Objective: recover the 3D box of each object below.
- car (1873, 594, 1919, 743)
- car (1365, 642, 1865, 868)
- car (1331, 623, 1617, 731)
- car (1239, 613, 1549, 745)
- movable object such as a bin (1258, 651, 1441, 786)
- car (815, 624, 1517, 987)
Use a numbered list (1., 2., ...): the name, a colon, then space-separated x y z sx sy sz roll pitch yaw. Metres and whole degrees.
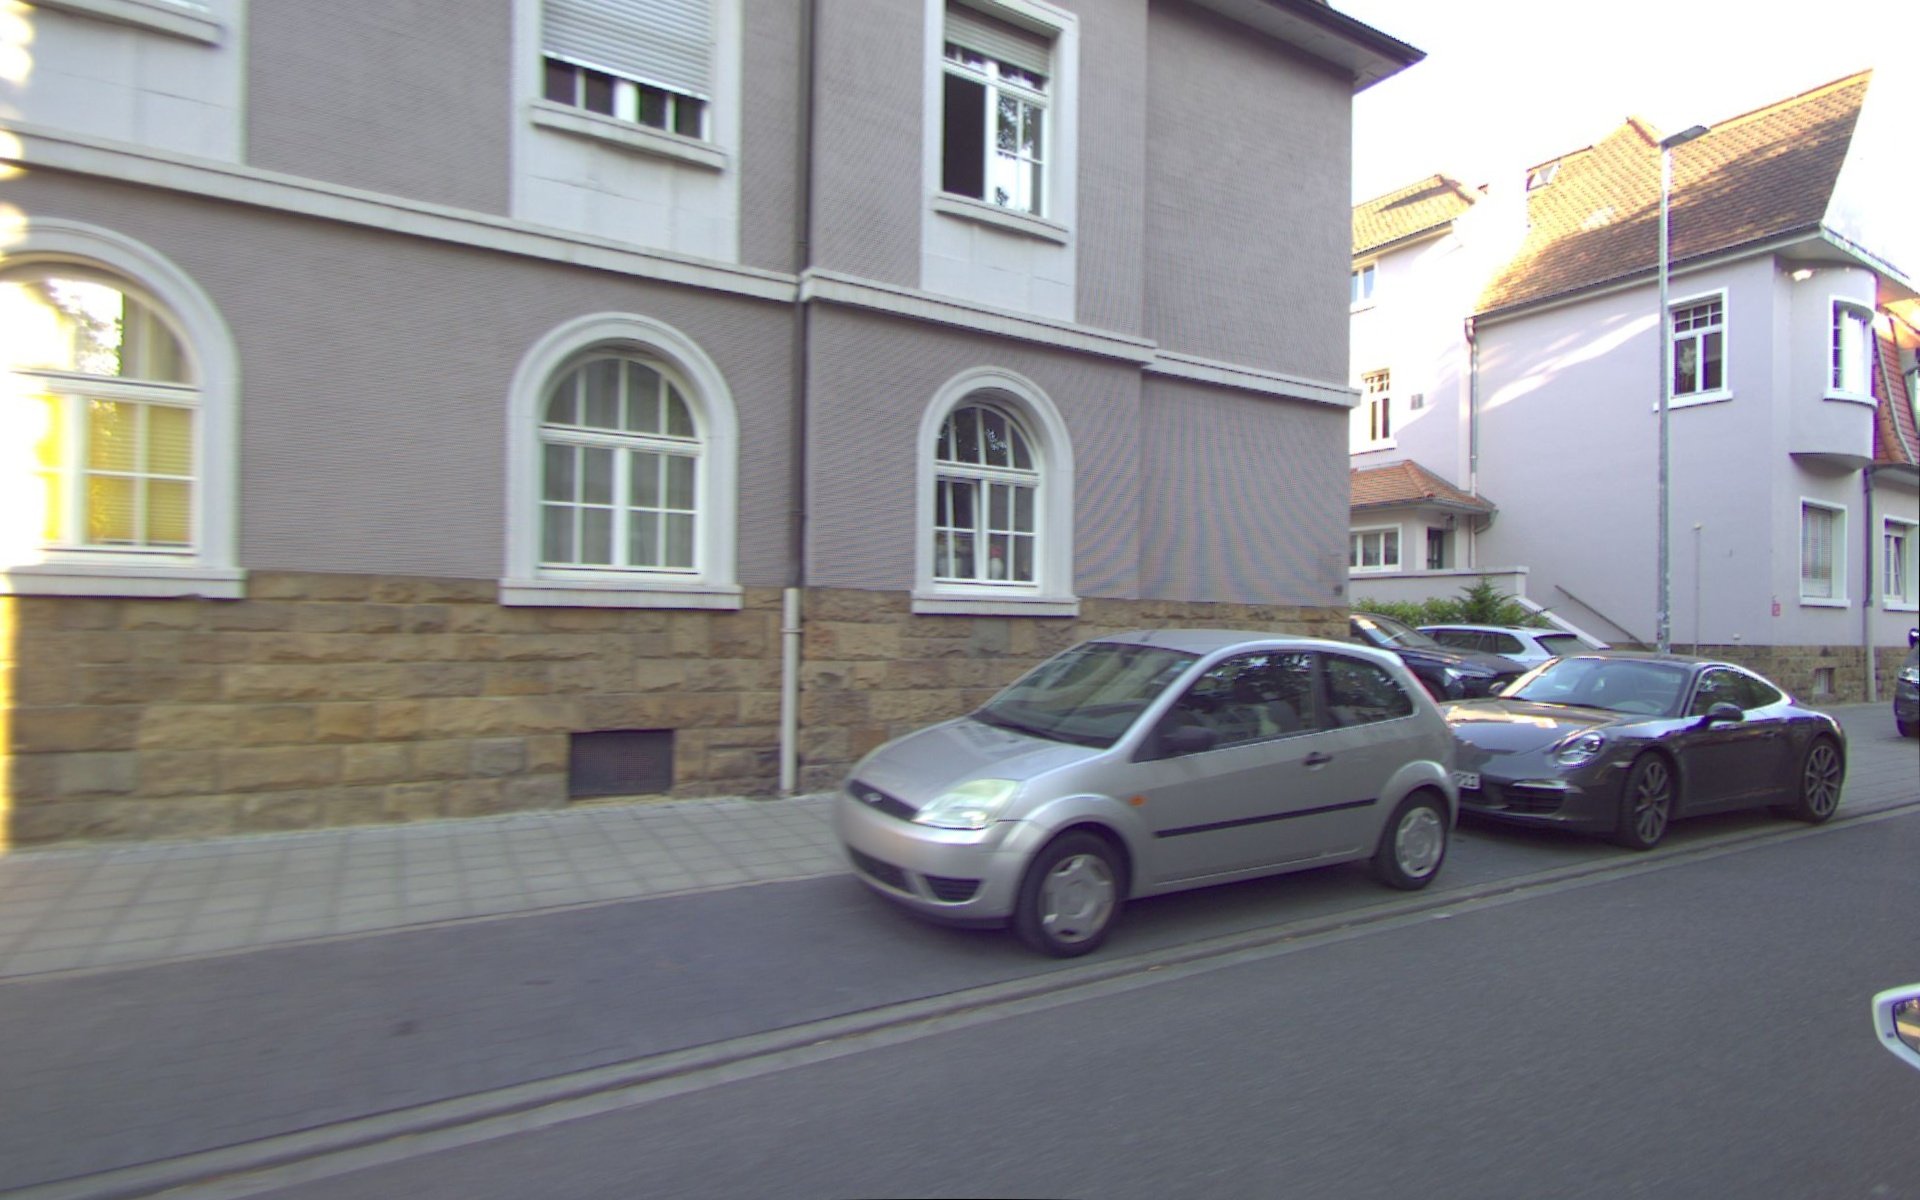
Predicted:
1. car: 15.071 0.948 14.149 4.795 1.973 1.972 1 0 -31
2. car: 5.313 1.053 8.039 4.173 1.336 1.525 1 0 -28
3. car: 8.141 1.129 16.233 1.618 1.463 3.840 0 0 -33
4. car: 6.253 1.030 14.855 1.877 1.643 3.840 0 0 -33
5. movable object such as a bin: 4.235 1.231 10.882 2.071 1.300 0.718 1 -1 -30
6. car: 1.289 0.902 5.877 3.912 1.465 1.646 1 0 -30
